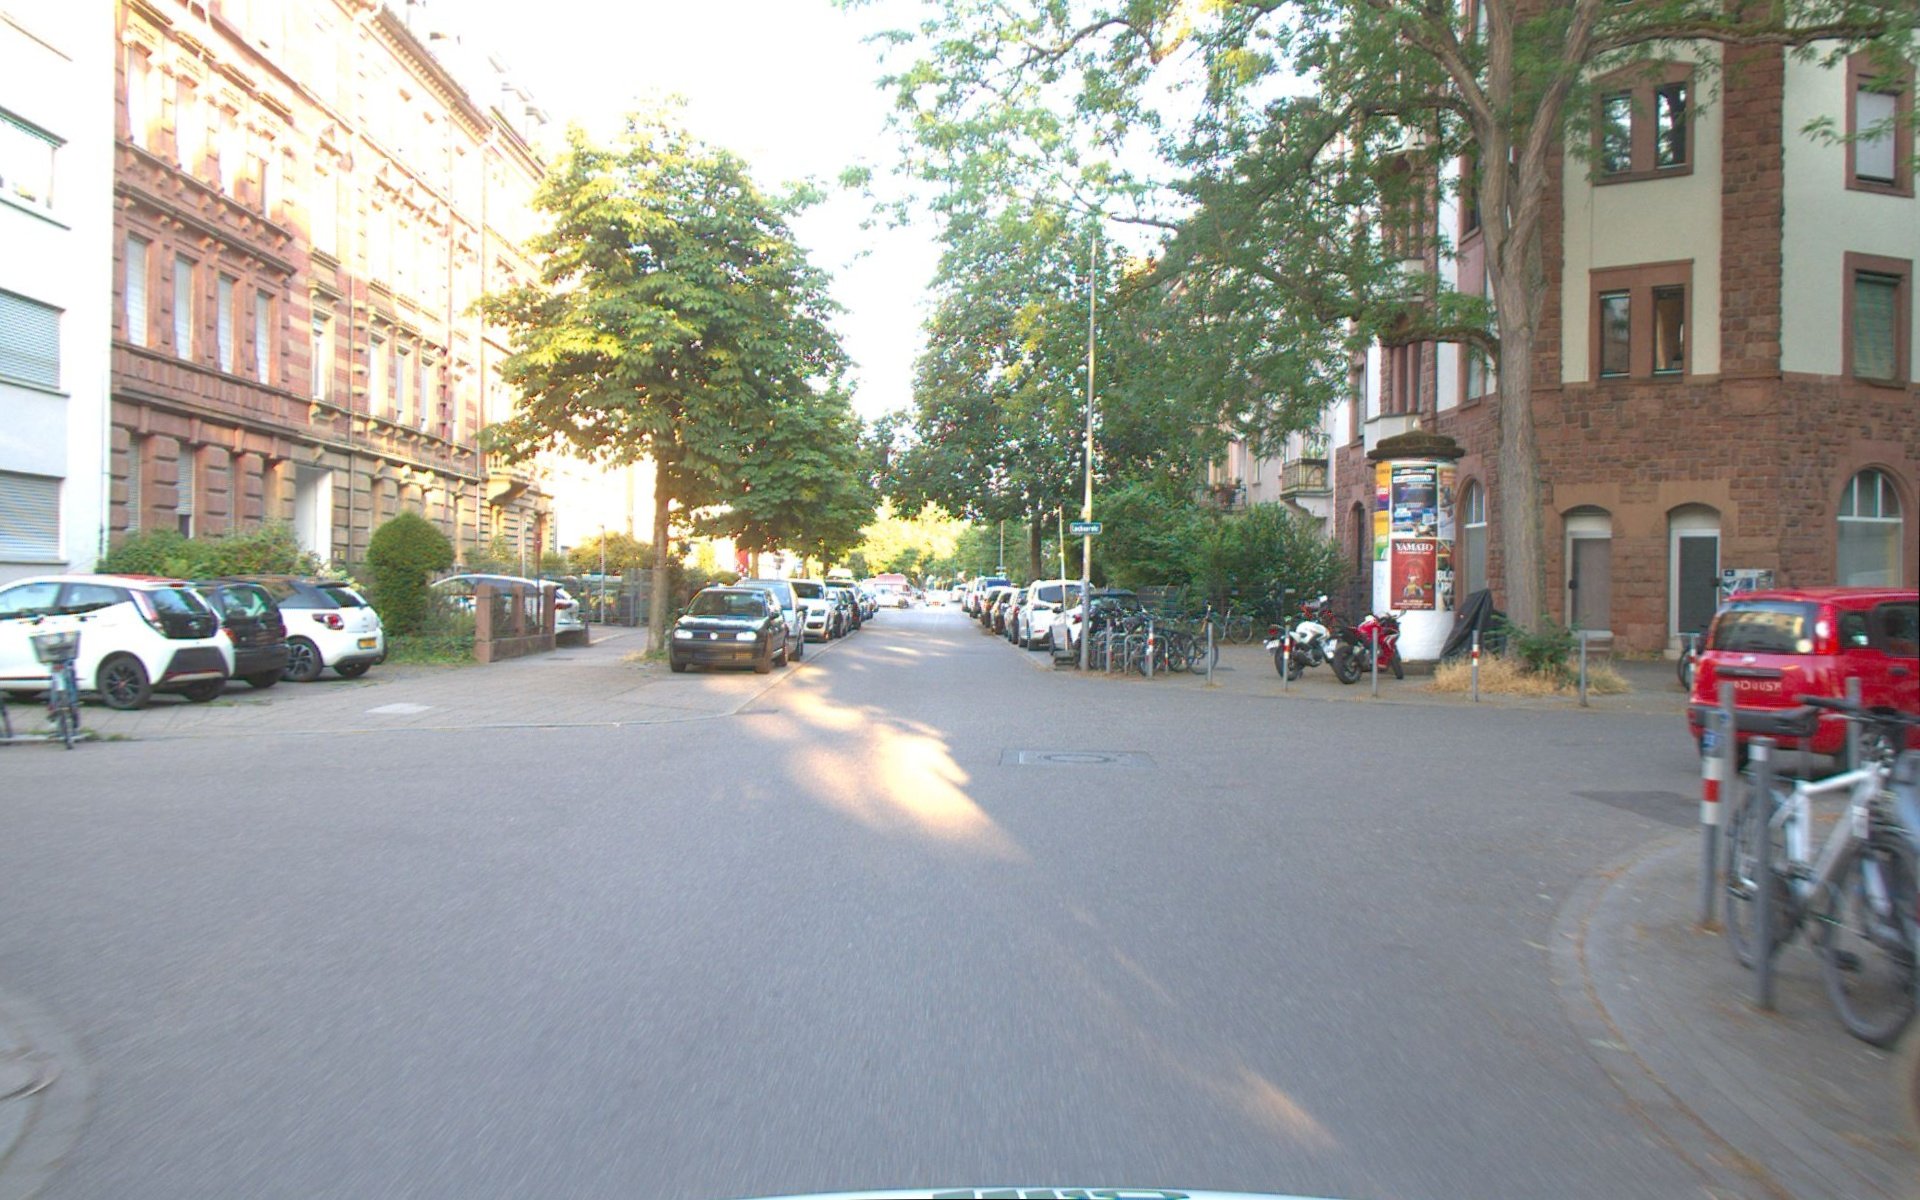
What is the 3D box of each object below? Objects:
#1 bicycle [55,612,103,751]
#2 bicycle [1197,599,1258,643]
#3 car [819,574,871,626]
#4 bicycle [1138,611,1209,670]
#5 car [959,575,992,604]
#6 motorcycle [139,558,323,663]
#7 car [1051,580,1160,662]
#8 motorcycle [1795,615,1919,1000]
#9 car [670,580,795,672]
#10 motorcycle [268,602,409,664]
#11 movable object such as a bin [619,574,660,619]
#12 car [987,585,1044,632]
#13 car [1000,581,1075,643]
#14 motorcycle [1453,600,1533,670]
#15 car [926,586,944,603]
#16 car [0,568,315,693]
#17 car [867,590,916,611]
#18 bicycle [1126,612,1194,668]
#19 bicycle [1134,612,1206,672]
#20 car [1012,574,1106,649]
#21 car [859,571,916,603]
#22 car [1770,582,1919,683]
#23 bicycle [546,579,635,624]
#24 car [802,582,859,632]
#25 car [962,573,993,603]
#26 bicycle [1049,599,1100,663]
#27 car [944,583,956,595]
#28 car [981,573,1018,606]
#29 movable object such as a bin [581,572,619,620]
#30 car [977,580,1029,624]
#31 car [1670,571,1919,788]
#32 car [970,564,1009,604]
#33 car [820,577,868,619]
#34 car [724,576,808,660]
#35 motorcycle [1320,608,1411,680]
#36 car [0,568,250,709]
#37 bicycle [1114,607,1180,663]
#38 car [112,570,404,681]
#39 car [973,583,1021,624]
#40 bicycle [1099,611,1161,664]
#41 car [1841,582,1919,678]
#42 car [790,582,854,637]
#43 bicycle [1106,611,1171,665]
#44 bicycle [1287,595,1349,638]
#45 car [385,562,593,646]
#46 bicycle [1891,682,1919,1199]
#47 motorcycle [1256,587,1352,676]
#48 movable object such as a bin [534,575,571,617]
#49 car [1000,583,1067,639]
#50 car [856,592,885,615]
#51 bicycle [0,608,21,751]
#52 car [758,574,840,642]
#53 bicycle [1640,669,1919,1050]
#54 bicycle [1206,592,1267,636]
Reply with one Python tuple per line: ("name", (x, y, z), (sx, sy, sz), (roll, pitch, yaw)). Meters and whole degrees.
("bicycle", (-8.126, 0.717, 15.282), (0.332, 1.202, 1.861), (0, -1, -27))
("bicycle", (6.646, 0.521, 41.104), (1.479, 1.052, 0.330), (-1, 1, -3))
("car", (-4.200, -0.023, 60.929), (1.681, 1.821, 4.215), (1, 1, -1))
("bicycle", (3.770, 0.712, 29.270), (1.200, 1.005, 0.330), (-1, 2, -5))
("car", (0.926, -0.606, 98.320), (1.653, 1.634, 3.937), (1, 0, -4))
("motorcycle", (-11.913, 0.166, 27.050), (2.791, 1.667, 0.675), (1, 0, 7))
("car", (2.998, 0.398, 34.701), (1.654, 1.620, 3.655), (1, 1, -5))
("motorcycle", (3.721, 0.761, 5.989), (0.491, 1.380, 2.063), (-2, 0, 5))
("car", (-3.982, 0.416, 29.522), (1.583, 1.496, 3.962), (1, 1, 1))
("motorcycle", (-10.454, 0.550, 27.828), (2.188, 0.975, 0.588), (1, 0, 8))
("movable object such as a bin", (-10.144, -0.123, 52.331), (0.991, 1.344, 1.005), (3, 1, 3))
("car", (1.849, 0.269, 56.025), (1.652, 1.466, 4.208), (-1, 0, -1))
("car", (2.124, 0.314, 46.315), (1.653, 1.634, 4.206), (1, 0, -4))
("motorcycle", (9.098, 0.574, 28.200), (0.430, 1.098, 2.096), (2, 2, 43))
("car", (-2.414, -0.522, 159.398), (1.776, 1.624, 3.482), (1, 1, -1))
("car", (-10.776, 0.353, 21.595), (4.005, 1.472, 1.819), (1, 1, 9))
("car", (-5.132, 0.016, 123.953), (3.548, 1.487, 1.605), (1, 1, -5))
("bicycle", (3.610, 0.714, 29.827), (1.205, 0.980, 0.329), (0, 2, -18))
("bicycle", (3.671, 0.729, 28.908), (1.199, 1.004, 0.330), (-1, 1, -3))
("car", (2.383, 0.251, 40.685), (1.762, 1.741, 4.597), (0, 0, -4))
("car", (-5.557, -0.970, 126.581), (4.263, 2.358, 1.745), (1, 1, -3))
("car", (14.790, 0.492, 26.156), (1.650, 1.503, 3.416), (1, 0, -18))
("bicycle", (-11.130, 0.045, 49.863), (2.475, 1.212, 0.644), (3, 1, 5))
("car", (-4.392, 0.211, 56.470), (1.681, 1.593, 3.787), (1, 1, -1))
("car", (1.109, -0.726, 104.964), (1.653, 1.843, 3.937), (1, 0, -4))
("bicycle", (2.206, 0.578, 31.722), (0.434, 1.193, 1.635), (1, 0, 23))
("car", (-1.360, -1.473, 223.653), (1.681, 1.624, 3.482), (1, 1, -1))
("car", (1.915, -0.487, 80.448), (1.508, 1.548, 3.429), (1, 0, -4))
("movable object such as a bin", (-11.354, -0.122, 52.137), (1.078, 1.439, 1.001), (2, 1, -15))
("car", (1.647, 0.075, 64.110), (1.653, 1.634, 3.937), (1, 0, -4))
("car", (7.860, 0.576, 13.784), (3.417, 1.600, 1.617), (0, 2, -21))
("car", (1.483, -0.820, 84.332), (1.647, 1.975, 3.877), (1, 0, -4))
("car", (-4.620, -0.097, 66.550), (1.681, 1.624, 4.518), (1, 0, -1))
("car", (-3.981, 0.323, 34.434), (1.564, 1.631, 3.741), (1, 1, -4))
("motorcycle", (6.760, 0.710, 27.484), (0.430, 1.098, 2.198), (2, 2, 43))
("car", (-10.582, 0.392, 19.155), (4.005, 1.472, 1.711), (1, 1, 8))
("bicycle", (3.415, 0.630, 30.214), (1.208, 0.974, 0.328), (0, 2, -24))
("car", (-10.238, 0.336, 24.254), (3.487, 1.472, 1.819), (1, 1, 8))
("car", (1.489, 0.145, 68.354), (1.653, 1.634, 3.937), (1, 0, -4))
("bicycle", (3.241, 0.711, 31.526), (1.210, 0.968, 0.327), (-1, 2, -29))
("car", (16.854, 0.512, 27.279), (1.792, 1.580, 3.980), (1, 0, -18))
("car", (-4.206, 0.290, 50.868), (1.681, 1.594, 3.780), (1, 0, -1))
("bicycle", (3.332, 0.704, 30.914), (1.208, 0.964, 0.328), (0, 2, -24))
("bicycle", (8.928, 0.407, 41.292), (1.479, 1.052, 0.330), (-1, 1, -3))
("car", (-10.319, 0.082, 36.427), (4.011, 1.554, 1.708), (4, 0, -3))
("bicycle", (3.205, 0.809, 3.892), (1.866, 1.280, 0.406), (-2, 0, -7))
("motorcycle", (5.929, 0.514, 28.404), (0.575, 1.432, 2.199), (2, 2, 42))
("movable object such as a bin", (-12.917, -0.135, 52.352), (1.078, 1.230, 1.001), (2, 1, -15))
("car", (2.215, 0.324, 50.622), (1.653, 1.634, 3.746), (1, 0, -4))
("car", (-5.920, 0.221, 109.522), (1.681, 1.466, 3.630), (1, 1, 0))
("bicycle", (-8.697, 0.688, 14.983), (0.239, 1.202, 1.665), (0, 0, -27))
("car", (-4.388, 0.187, 45.564), (1.882, 1.747, 4.427), (1, 1, -1))
("bicycle", (3.231, 0.905, 6.533), (0.397, 1.129, 2.156), (-2, 1, 6))
("bicycle", (6.938, 0.351, 41.525), (1.479, 1.052, 0.330), (-1, 1, -3))
